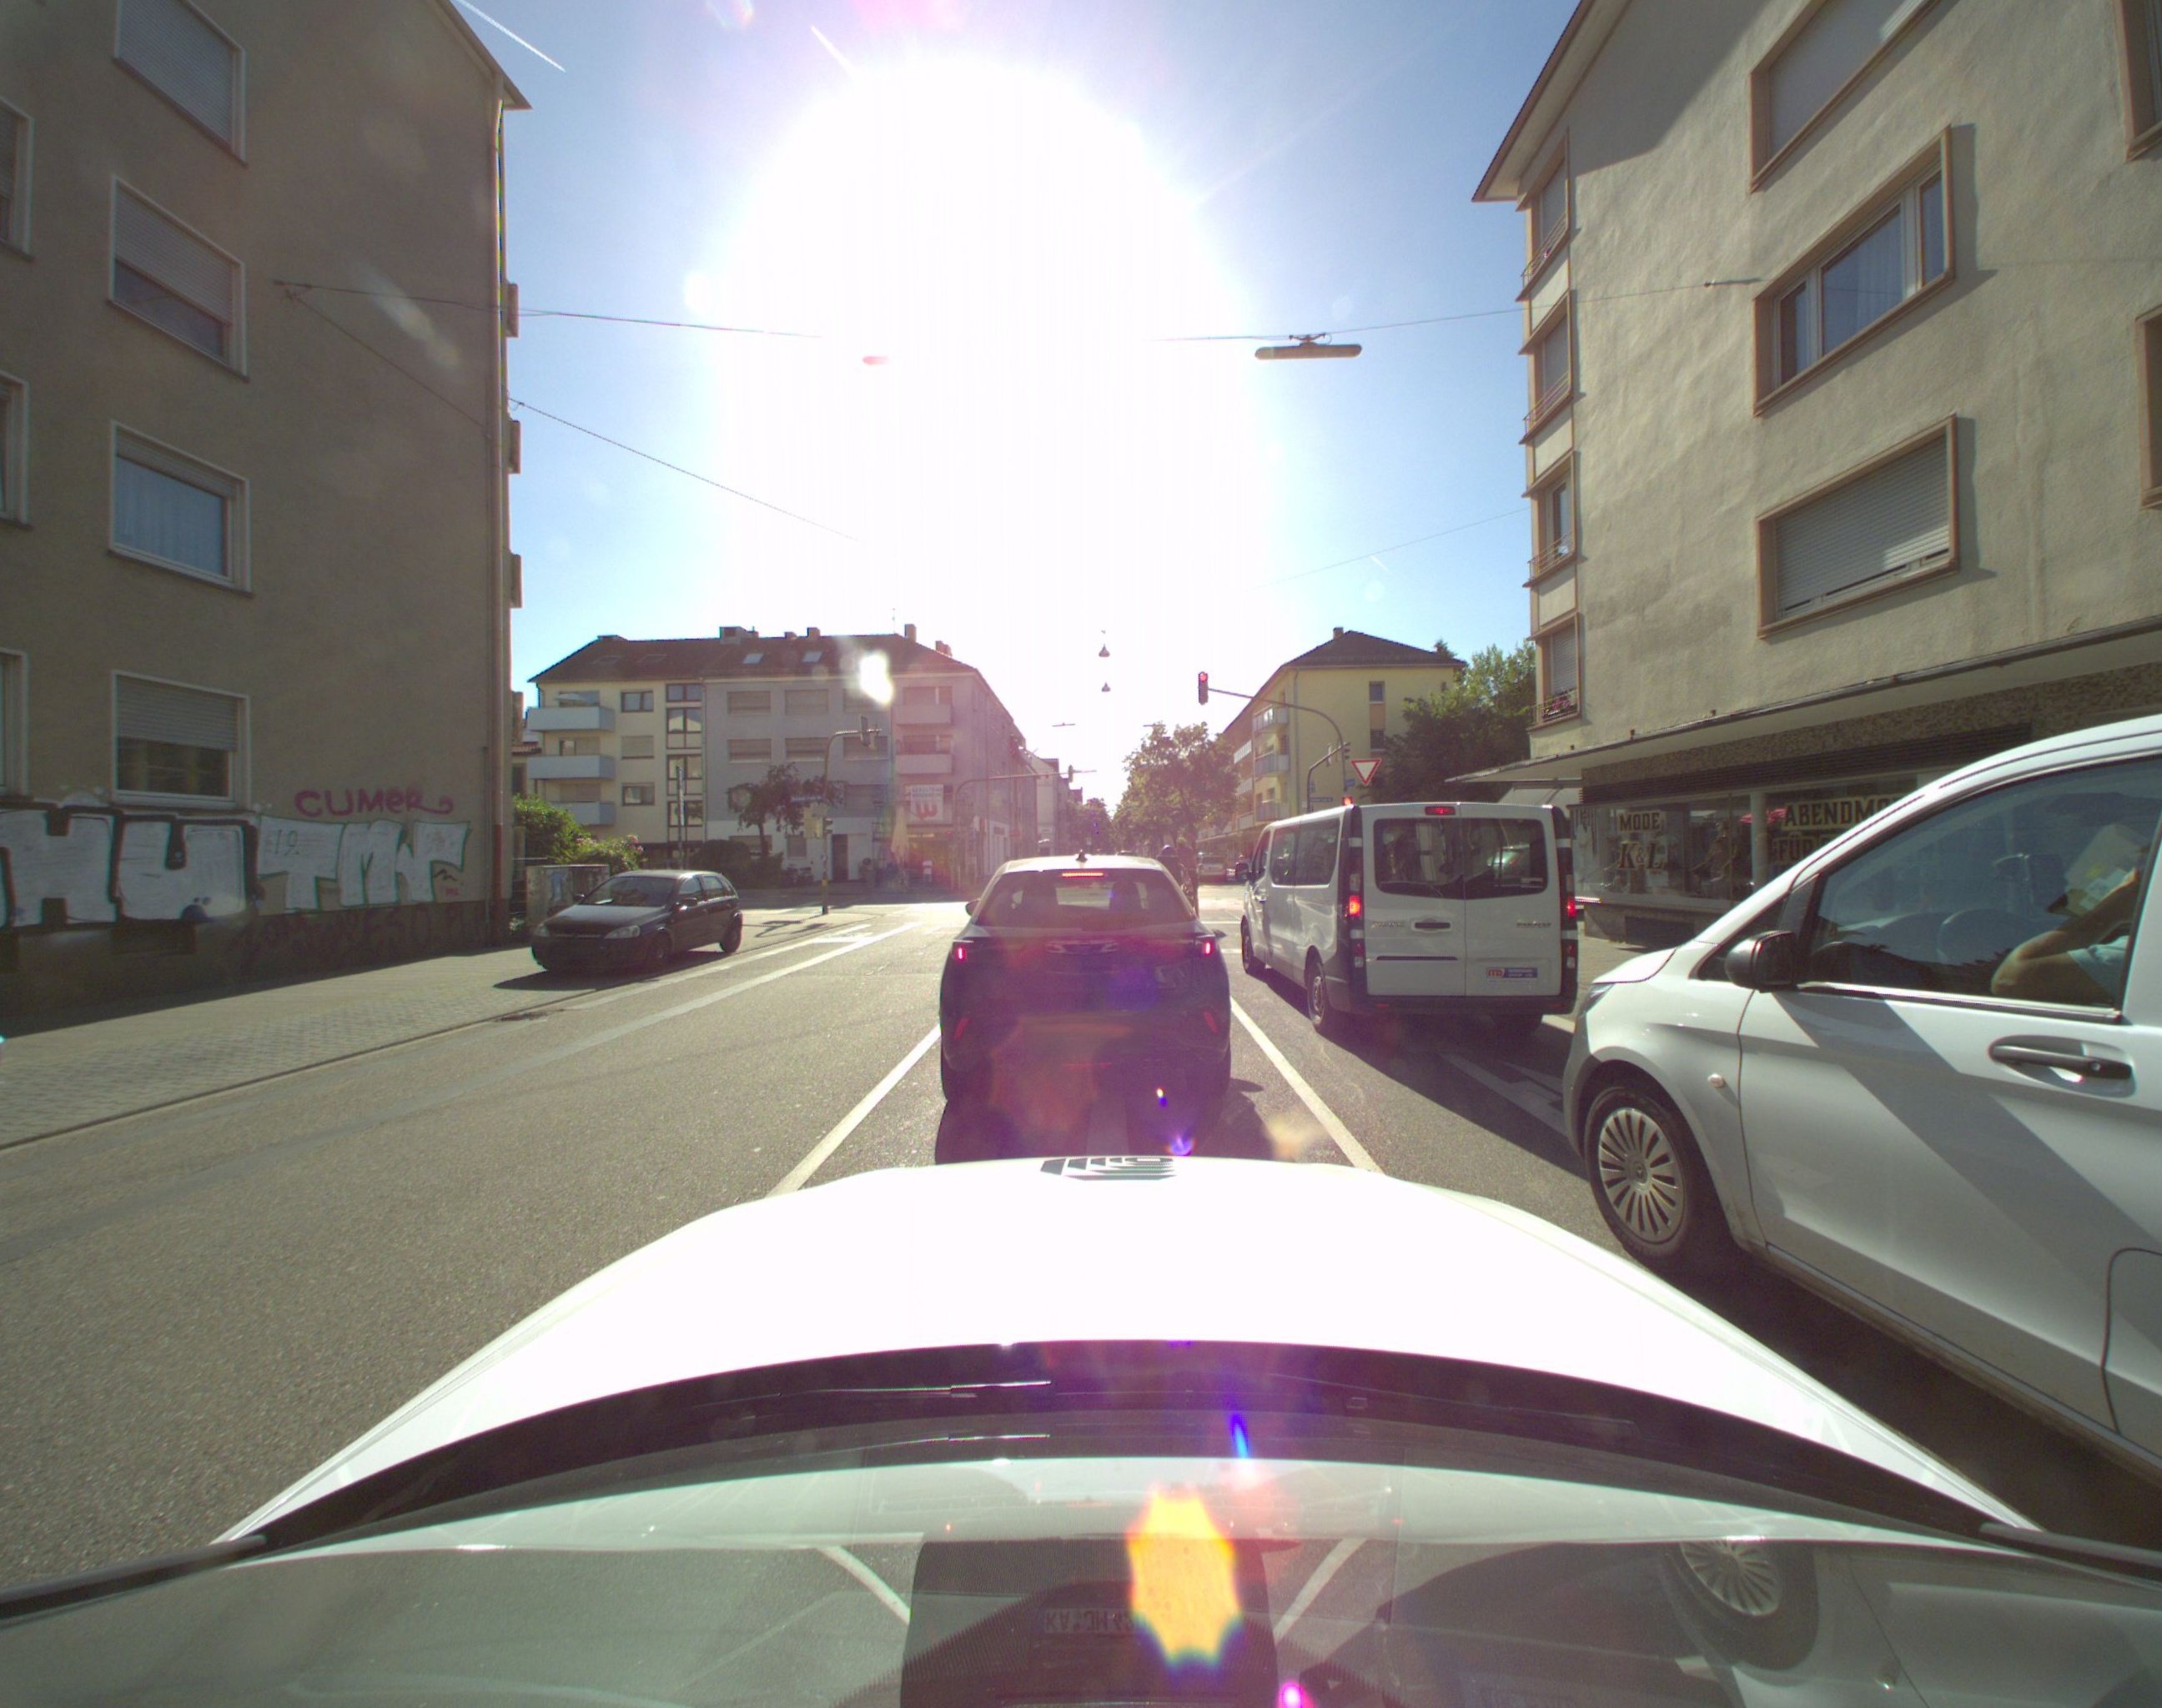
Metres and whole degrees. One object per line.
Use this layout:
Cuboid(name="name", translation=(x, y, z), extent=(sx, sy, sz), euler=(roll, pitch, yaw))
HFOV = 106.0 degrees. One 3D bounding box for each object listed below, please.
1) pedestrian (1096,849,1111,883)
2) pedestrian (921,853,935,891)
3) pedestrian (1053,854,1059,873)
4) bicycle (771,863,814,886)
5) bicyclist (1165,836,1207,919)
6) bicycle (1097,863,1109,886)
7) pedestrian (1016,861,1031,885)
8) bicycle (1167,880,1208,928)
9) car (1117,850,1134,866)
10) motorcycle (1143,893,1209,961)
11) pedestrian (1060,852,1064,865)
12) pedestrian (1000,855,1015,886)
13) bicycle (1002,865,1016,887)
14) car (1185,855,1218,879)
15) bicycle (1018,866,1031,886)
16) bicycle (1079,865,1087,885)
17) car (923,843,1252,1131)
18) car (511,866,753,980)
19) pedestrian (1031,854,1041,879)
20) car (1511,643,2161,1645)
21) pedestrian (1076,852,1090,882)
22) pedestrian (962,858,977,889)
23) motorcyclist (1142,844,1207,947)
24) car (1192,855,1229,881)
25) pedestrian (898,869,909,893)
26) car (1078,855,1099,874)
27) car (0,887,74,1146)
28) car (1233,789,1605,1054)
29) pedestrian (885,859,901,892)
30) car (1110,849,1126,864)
Cuboid(name="pedestrian", translation=(1.132, 0.590, 41.587), extent=(0.704, 1.701, 0.802), euler=(-1, 0, 0))
Cuboid(name="pedestrian", translation=(-7.197, 0.841, 38.299), extent=(0.560, 1.775, 0.582), euler=(-1, 0, -7))
Cuboid(name="pedestrian", translation=(-2.185, 0.823, 72.215), extent=(0.486, 1.690, 0.588), euler=(-1, 0, 1))
Cuboid(name="bicycle", translation=(-15.299, 1.079, 43.205), extent=(2.103, 1.172, 0.735), euler=(-1, 0, -22))
Cuboid(name="bicyclist", translation=(2.263, 0.486, 17.662), extent=(0.687, 1.712, 1.414), euler=(-1, 0, 0))
Cuboid(name="bicycle", translation=(1.112, 1.038, 41.643), extent=(0.520, 1.147, 2.170), euler=(-1, 0, 0))
Cuboid(name="pedestrian", translation=(-3.098, 1.015, 43.790), extent=(0.704, 1.253, 0.802), euler=(-1, 0, 0))
Cuboid(name="bicycle", translation=(2.280, 1.055, 17.698), extent=(0.575, 0.904, 2.301), euler=(-1, 0, 0))
Cuboid(name="car", translation=(5.059, 0.487, 92.936), extent=(1.894, 1.728, 4.075), euler=(-1, 0, 2))
Cuboid(name="motorcycle", translation=(1.402, 1.071, 12.380), extent=(0.822, 0.845, 1.885), euler=(-1, 0, 1))
Cuboid(name="pedestrian", translation=(-2.337, 0.570, 100.993), extent=(0.400, 1.675, 0.418), euler=(-1, 0, 1))
Cuboid(name="pedestrian", translation=(-3.978, 0.887, 43.906), extent=(0.704, 1.678, 0.802), euler=(-1, 0, 0))
Cuboid(name="bicycle", translation=(-3.909, 1.166, 44.161), extent=(0.520, 1.147, 2.283), euler=(-1, 0, 0))
Cuboid(name="car", translation=(7.648, 0.777, 51.903), extent=(1.628, 1.433, 4.002), euler=(-1, 0, 2))
Cuboid(name="bicycle", translation=(-3.073, 1.190, 44.131), extent=(0.520, 0.992, 2.339), euler=(-1, 0, 0))
Cuboid(name="bicycle", translation=(0.113, 1.127, 43.940), extent=(0.442, 0.992, 2.068), euler=(-1, 0, 0))
Cuboid(name="car", translation=(0.042, 0.718, 6.418), extent=(1.765, 1.530, 3.999), euler=(-1, 0, 0))
Cuboid(name="car", translation=(-6.765, 0.954, 12.771), extent=(1.610, 1.425, 3.711), euler=(1, 0, 1))
Cuboid(name="pedestrian", translation=(-2.980, 0.817, 54.371), extent=(0.568, 1.690, 0.588), euler=(-1, 0, 1))
Cuboid(name="car", translation=(2.929, 0.531, 1.235), extent=(1.831, 1.869, 4.994), euler=(-1, 0, -1))
Cuboid(name="pedestrian", translation=(0.111, 0.685, 43.898), extent=(0.678, 1.606, 0.762), euler=(-1, 0, 0))
Cuboid(name="pedestrian", translation=(-5.487, 0.958, 40.225), extent=(0.615, 1.521, 0.724), euler=(-1, 0, -1))
Cuboid(name="motorcyclist", translation=(1.414, 0.607, 12.493), extent=(0.861, 1.502, 1.160), euler=(-1, 0, 1))
Cuboid(name="car", translation=(7.453, 0.782, 47.199), extent=(1.628, 1.433, 3.958), euler=(-1, 0, 2))
Cuboid(name="pedestrian", translation=(-8.240, 1.258, 37.807), extent=(0.354, 1.092, 0.461), euler=(-1, 0, -1))
Cuboid(name="car", translation=(0.780, 0.971, 79.152), extent=(1.817, 1.728, 4.004), euler=(-1, 0, 3))
Cuboid(name="car", translation=(-7.116, 0.928, 2.594), extent=(1.711, 1.465, 4.817), euler=(1, 0, 2))
Cuboid(name="car", translation=(2.992, 0.507, 8.559), extent=(1.986, 1.979, 4.896), euler=(0, 0, 1))
Cuboid(name="pedestrian", translation=(-8.723, 0.989, 37.753), extent=(0.582, 1.521, 0.649), euler=(-1, 0, -1))
Cuboid(name="car", translation=(4.717, 0.311, 104.054), extent=(1.894, 1.728, 4.003), euler=(-1, 0, 2))
